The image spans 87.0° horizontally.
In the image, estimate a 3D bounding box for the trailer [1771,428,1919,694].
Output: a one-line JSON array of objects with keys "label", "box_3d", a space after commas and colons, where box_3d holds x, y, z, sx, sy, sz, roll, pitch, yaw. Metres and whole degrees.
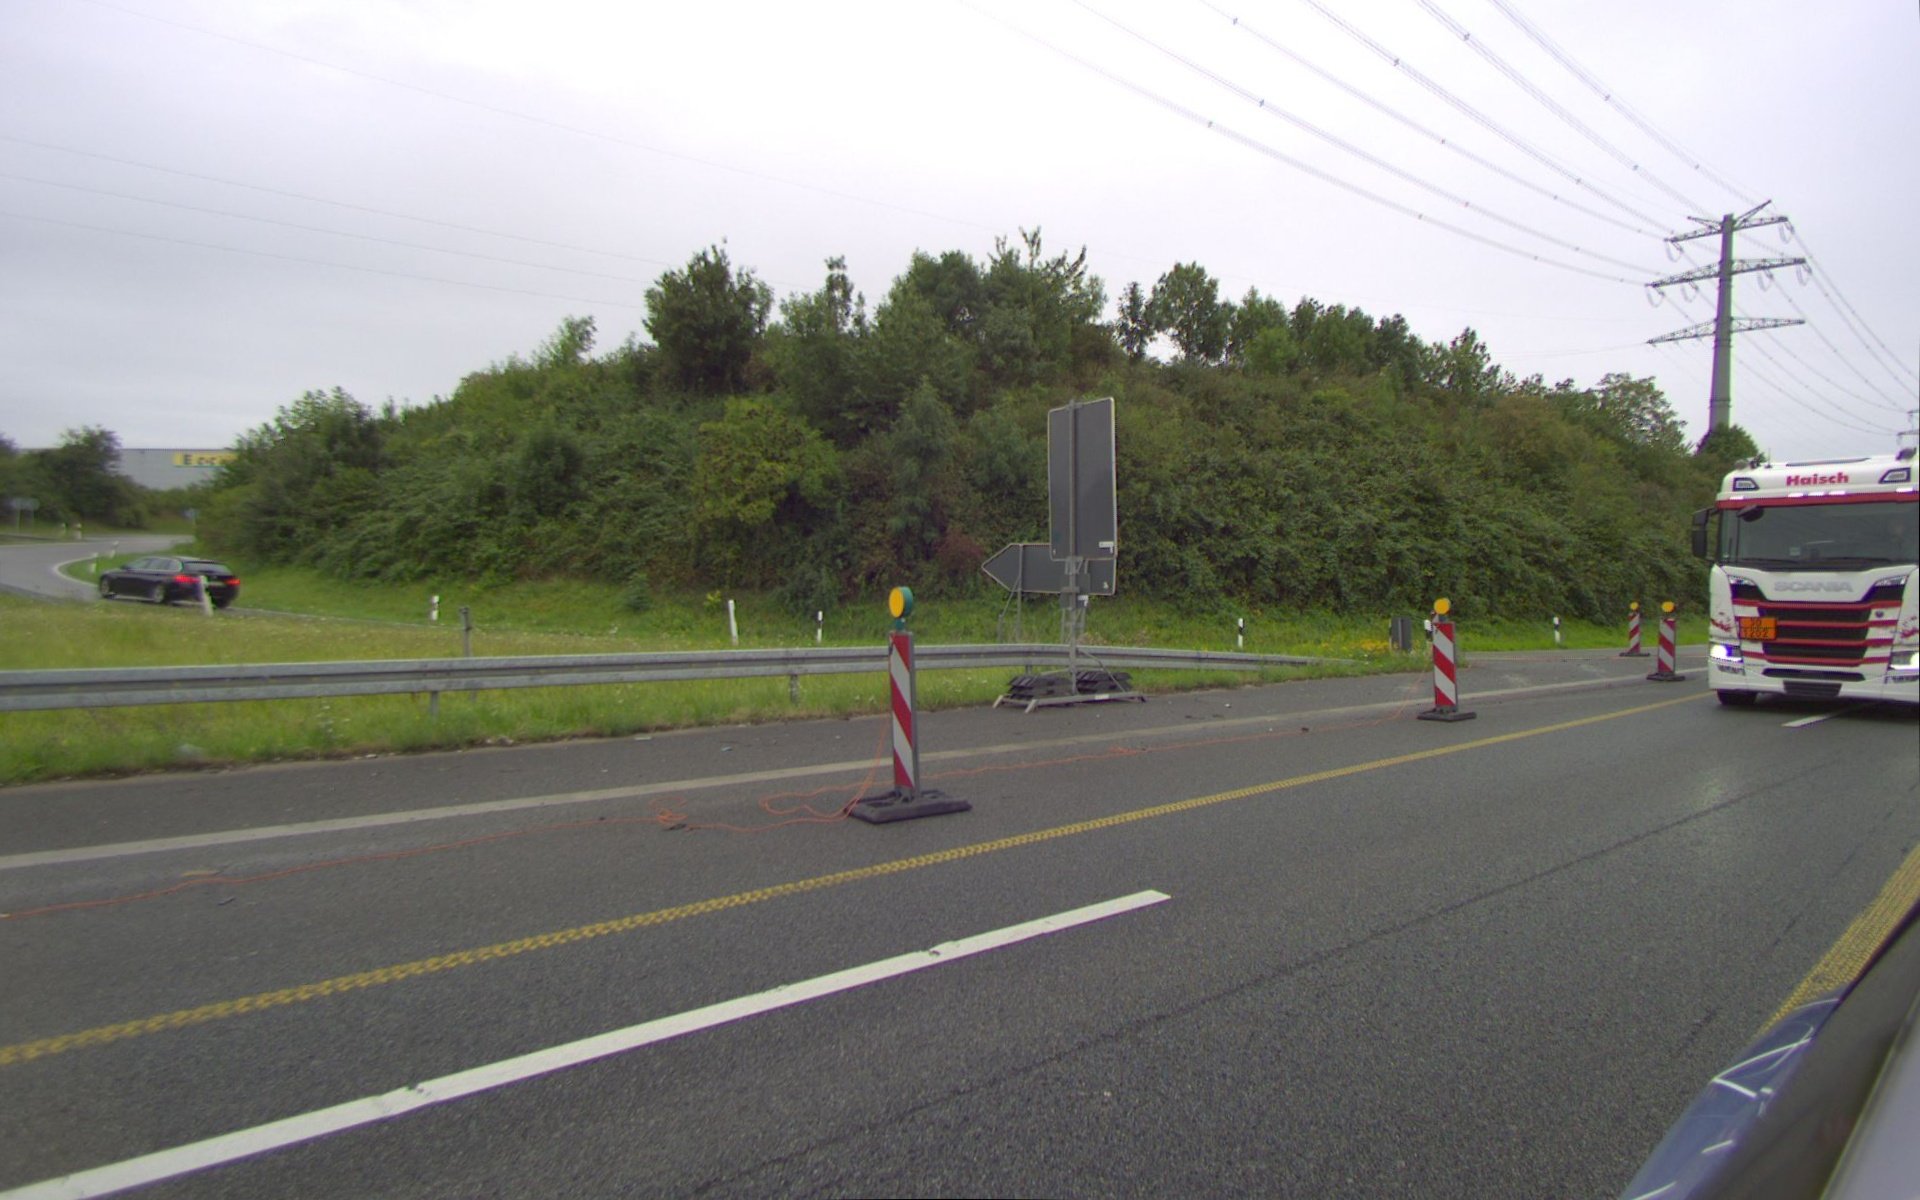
[{"label": "trailer", "box_3d": [17.865, -0.630, 18.760, 10.360, 3.942, 2.642, -1, 0, -41]}]

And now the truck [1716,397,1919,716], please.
[{"label": "truck", "box_3d": [12.837, -0.530, 14.334, 3.959, 3.940, 2.649, 1, -1, -41]}]

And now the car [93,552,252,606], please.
[{"label": "car", "box_3d": [-23.976, -0.657, 30.804, 4.546, 1.466, 1.983, 3, 2, 25]}]
